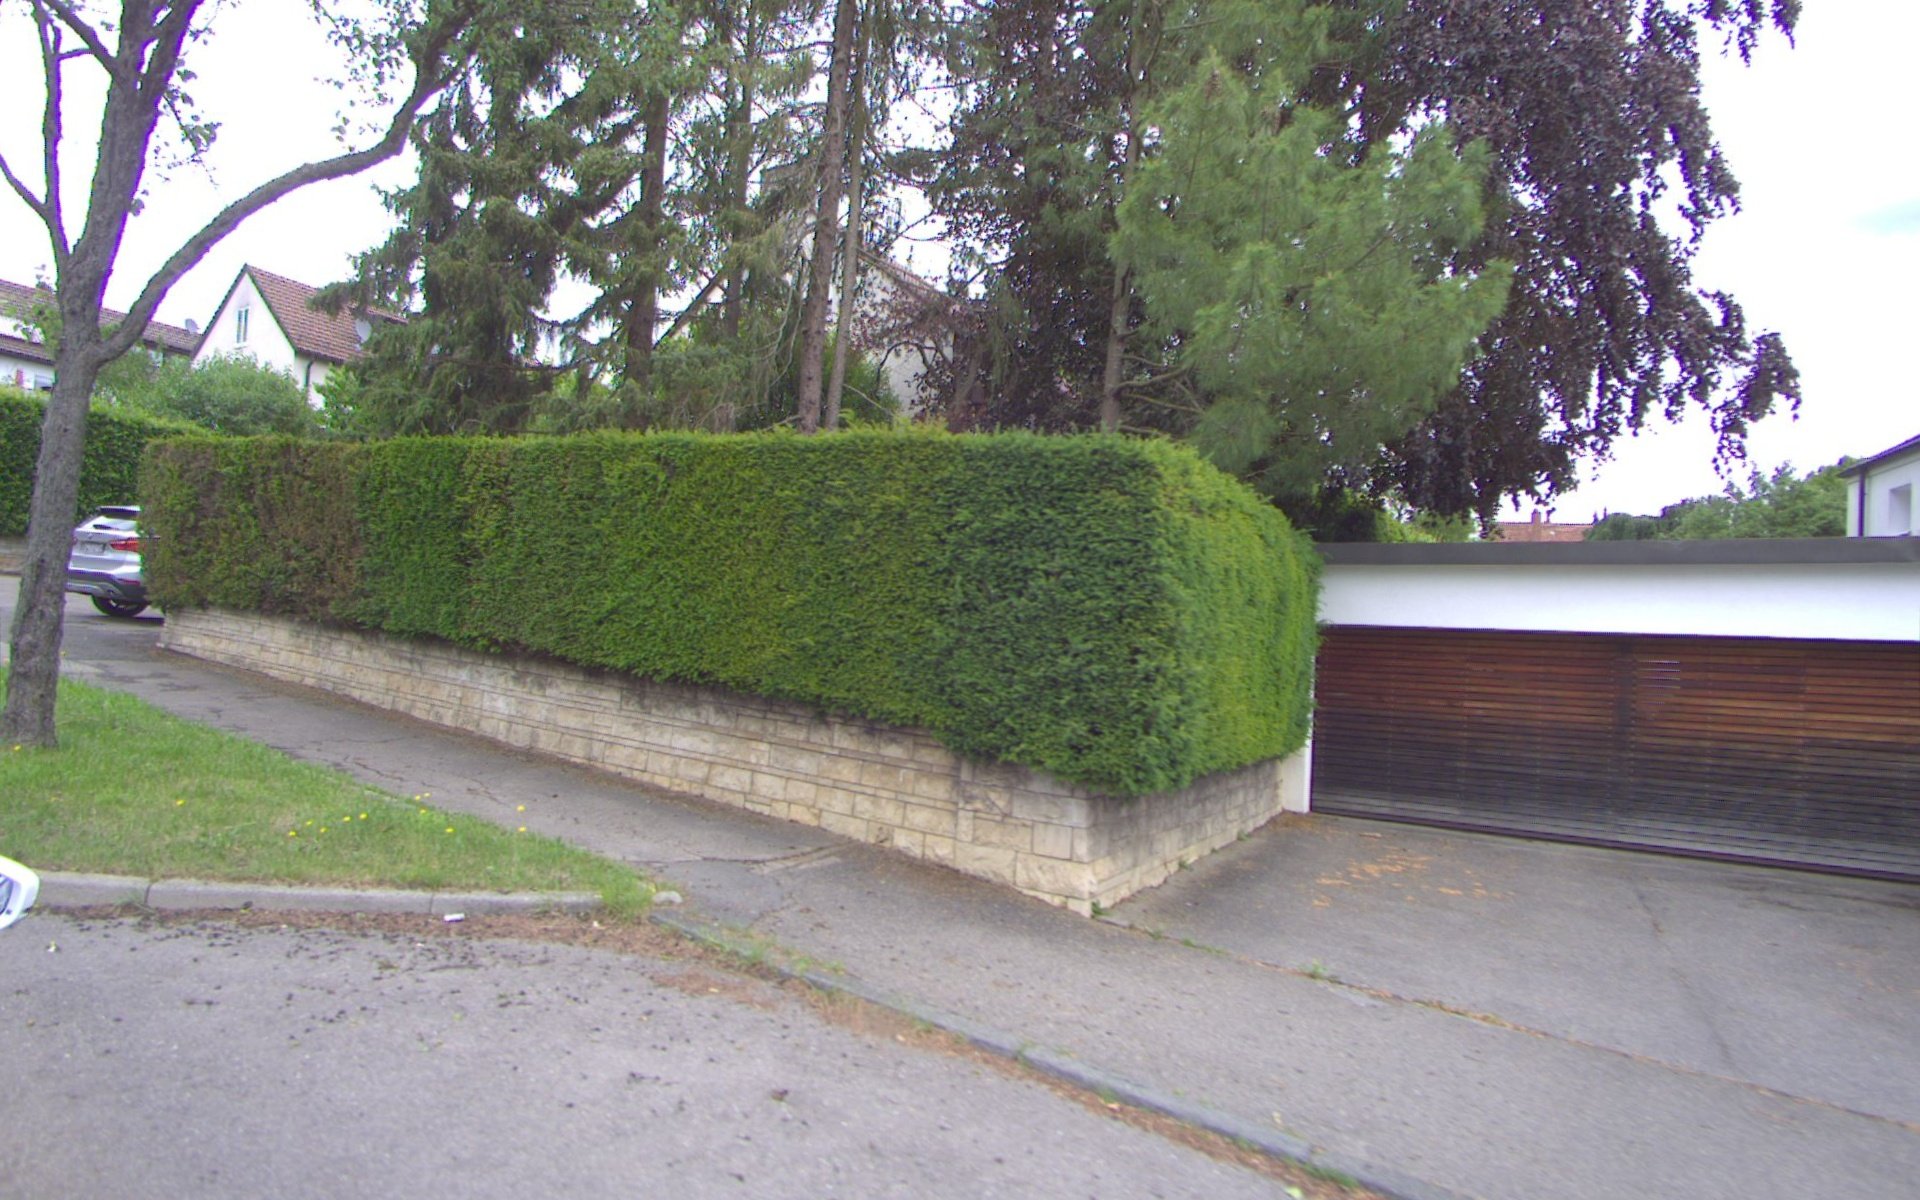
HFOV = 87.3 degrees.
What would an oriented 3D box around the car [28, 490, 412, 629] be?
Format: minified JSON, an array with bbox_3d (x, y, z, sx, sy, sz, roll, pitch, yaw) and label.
[{"bbox_3d":[-10.813,-0.498,15.108,1.847,1.620,4.218,7,1,21],"label":"car"}]
